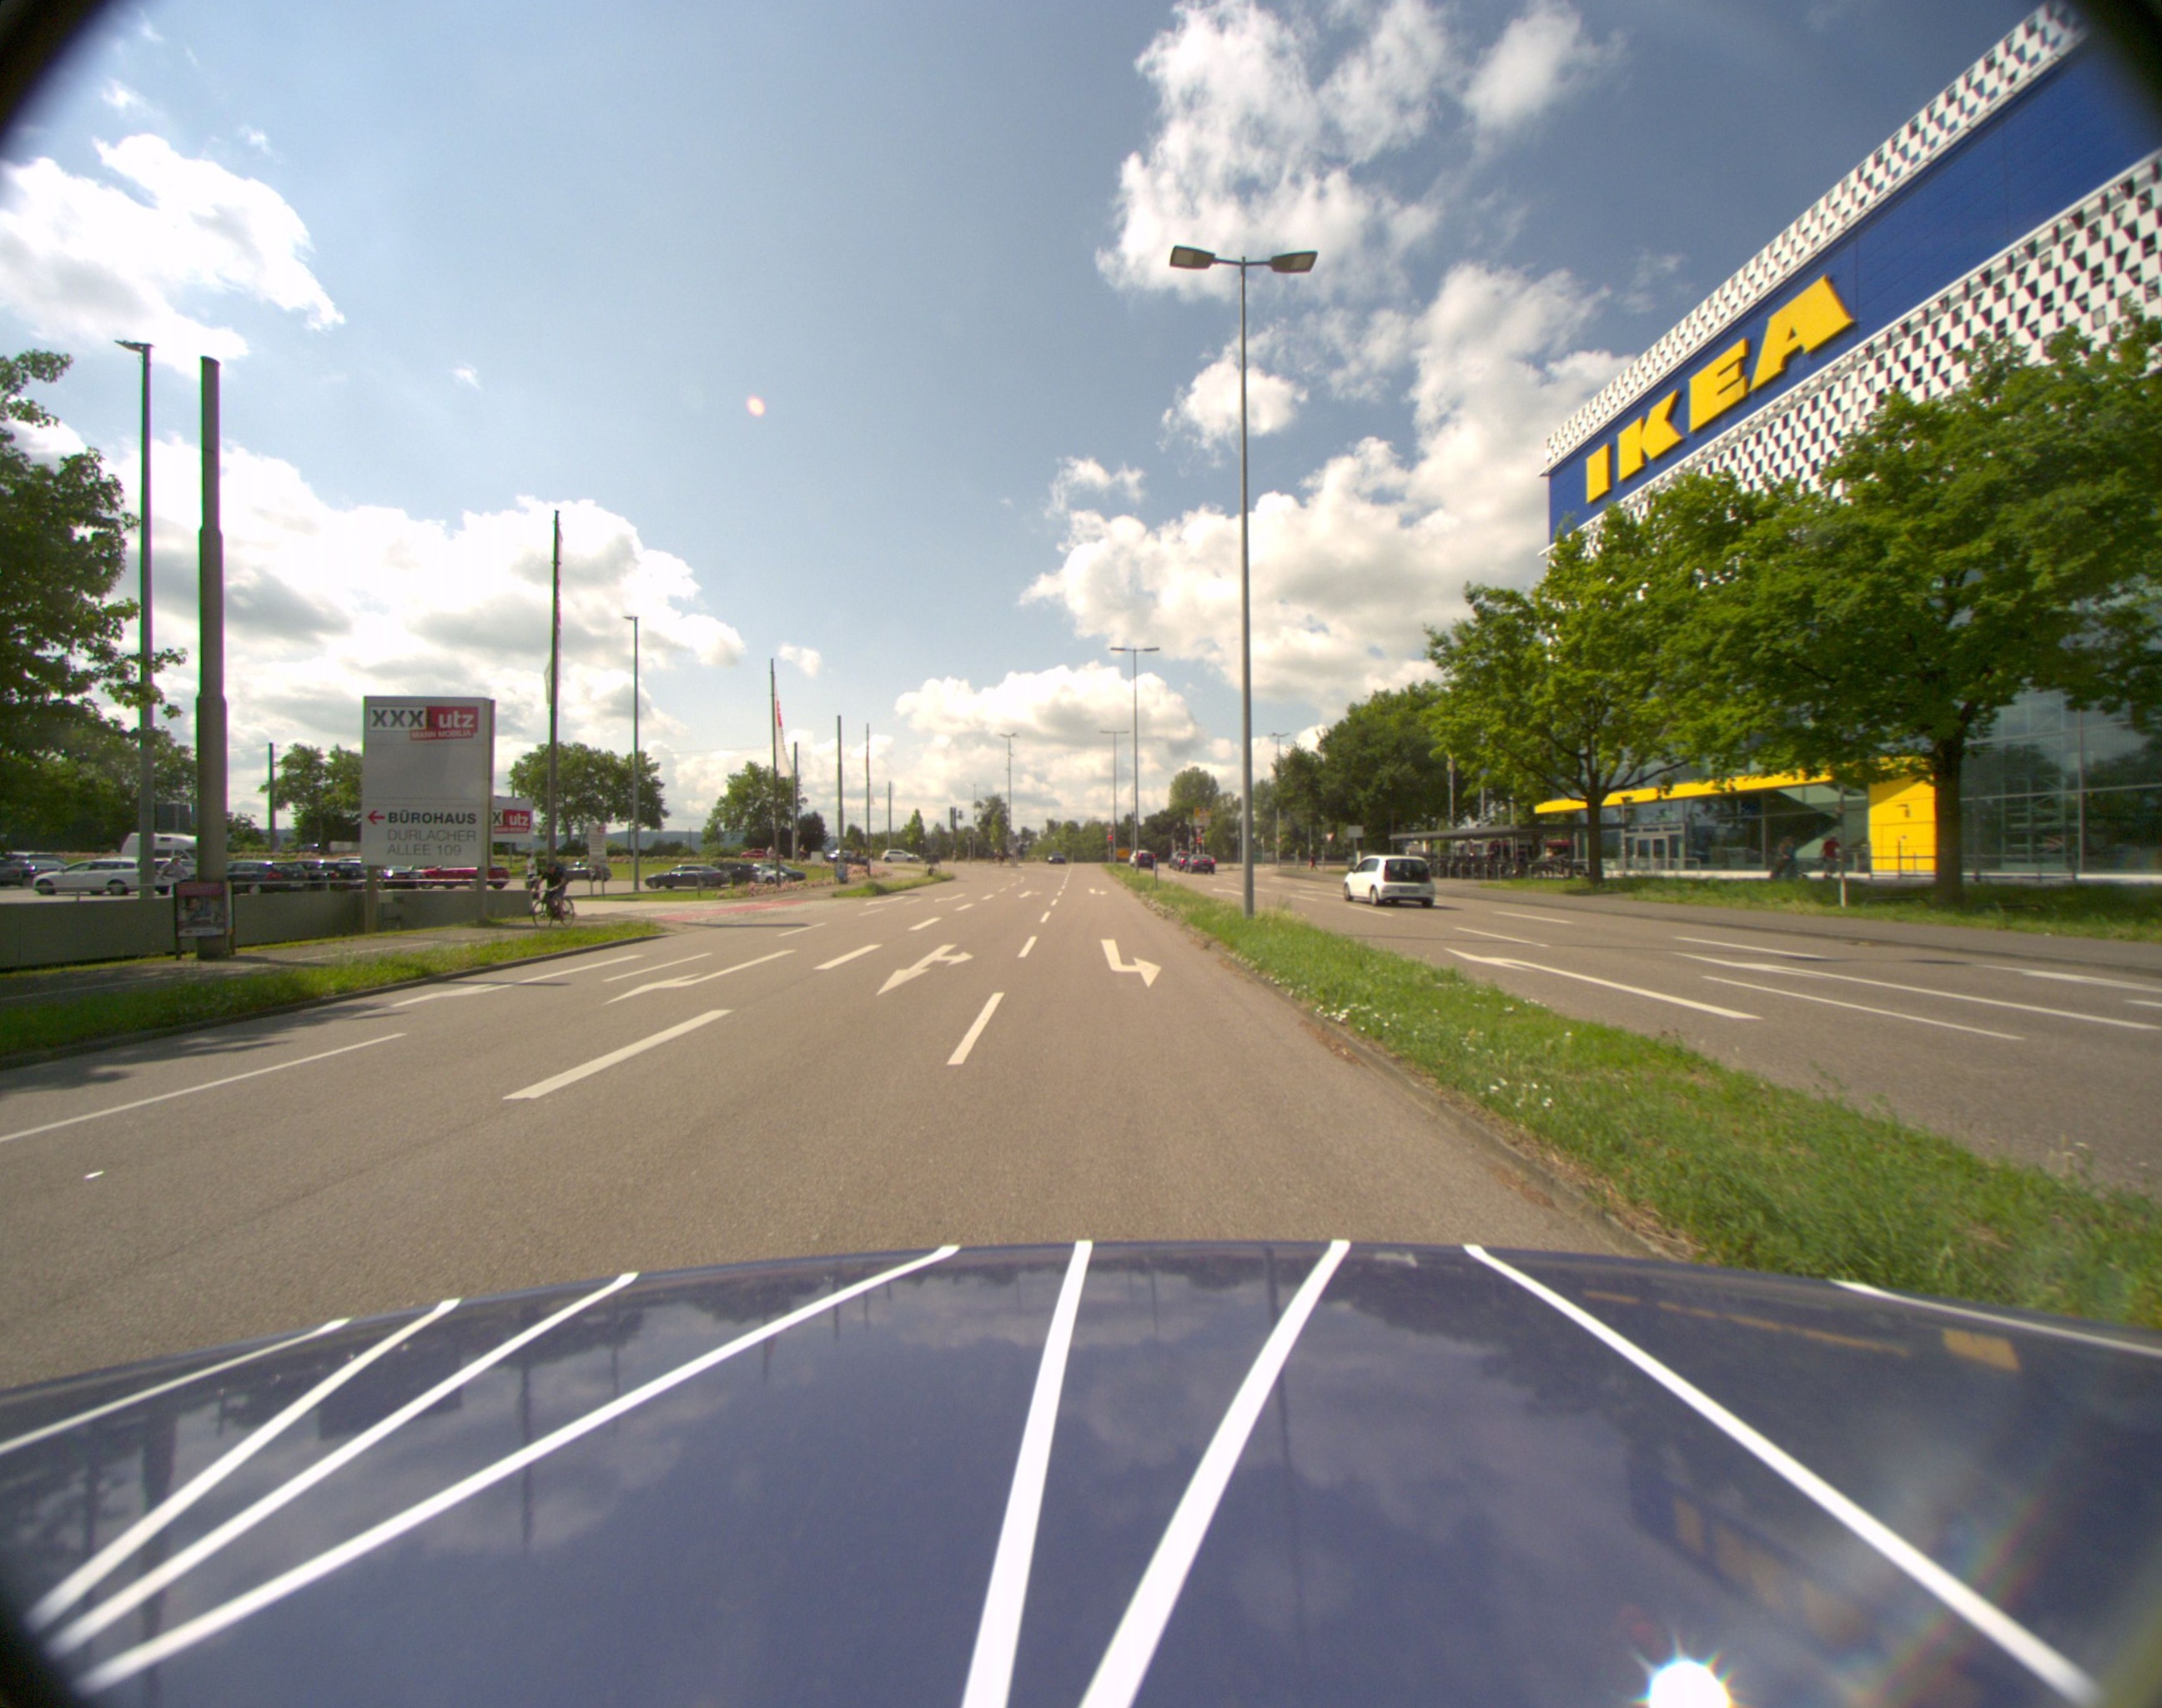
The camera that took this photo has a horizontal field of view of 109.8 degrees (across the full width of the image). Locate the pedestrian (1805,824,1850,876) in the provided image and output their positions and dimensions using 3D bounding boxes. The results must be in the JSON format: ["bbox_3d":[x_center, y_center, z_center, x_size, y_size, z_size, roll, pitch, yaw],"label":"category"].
[{"bbox_3d":[27.142,-0.143,27.631,0.755,1.812,0.887,-2,1,0],"label":"pedestrian"}]

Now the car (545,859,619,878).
[{"bbox_3d":[-38.173,1.109,58.212,4.369,1.400,2.050,1,-1,2],"label":"car"}]

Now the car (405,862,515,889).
[{"bbox_3d":[-33.045,1.122,40.493,4.369,1.354,1.847,1,-1,2],"label":"car"}]

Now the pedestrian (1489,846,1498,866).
[{"bbox_3d":[35.715,0.145,65.737,0.410,1.693,0.516,-1,0,-6],"label":"pedestrian"}]

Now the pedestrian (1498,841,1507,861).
[{"bbox_3d":[36.799,-0.275,66.337,0.528,1.693,0.410,-1,0,-9],"label":"pedestrian"}]

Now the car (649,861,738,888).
[{"bbox_3d":[-23.251,1.246,45.653,4.369,1.468,1.857,-1,0,2],"label":"car"}]

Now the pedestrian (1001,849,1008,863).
[{"bbox_3d":[-8.016,0.223,79.978,0.584,1.515,0.469,-1,1,9],"label":"pedestrian"}]

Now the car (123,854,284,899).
[{"bbox_3d":[-32.887,0.828,28.540,4.025,1.578,1.695,-1,-1,-1],"label":"car"}]

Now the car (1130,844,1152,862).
[{"bbox_3d":[5.784,-0.116,73.662,1.712,1.610,4.376,1,1,-1],"label":"car"}]

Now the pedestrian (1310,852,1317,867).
[{"bbox_3d":[22.778,0.524,74.419,0.439,1.482,0.619,-1,1,-16],"label":"pedestrian"}]

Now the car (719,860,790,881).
[{"bbox_3d":[-23.920,1.196,55.783,4.369,1.431,1.796,-1,1,1],"label":"car"}]

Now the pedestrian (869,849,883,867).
[{"bbox_3d":[-19.951,0.381,73.894,0.860,1.755,0.867,-1,1,27],"label":"pedestrian"}]

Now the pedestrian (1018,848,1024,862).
[{"bbox_3d":[-6.415,0.090,81.159,0.556,1.515,0.470,-1,0,9],"label":"pedestrian"}]

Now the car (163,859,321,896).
[{"bbox_3d":[-33.636,0.923,30.547,4.369,1.354,1.847,-1,0,2],"label":"car"}]

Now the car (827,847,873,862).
[{"bbox_3d":[-23.899,0.007,78.633,4.193,1.475,1.918,0,2,15],"label":"car"}]

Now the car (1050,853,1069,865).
[{"bbox_3d":[-2.453,0.589,87.877,1.796,1.311,4.163,-2,0,3],"label":"car"}]

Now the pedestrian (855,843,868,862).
[{"bbox_3d":[-20.713,-0.164,71.771,0.820,1.792,0.761,-1,1,28],"label":"pedestrian"}]

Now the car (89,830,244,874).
[{"bbox_3d":[-67.698,-0.142,56.362,7.897,3.136,3.122,0,1,3],"label":"car"}]

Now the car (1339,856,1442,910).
[{"bbox_3d":[9.084,0.798,22.598,1.647,1.420,3.670,0,1,2],"label":"car"}]

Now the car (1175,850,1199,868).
[{"bbox_3d":[8.838,0.376,63.623,1.415,1.384,4.095,1,1,0],"label":"car"}]

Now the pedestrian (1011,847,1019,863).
[{"bbox_3d":[-6.861,0.093,79.065,0.688,1.718,0.701,0,2,12],"label":"pedestrian"}]

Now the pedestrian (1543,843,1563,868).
[{"bbox_3d":[33.105,0.110,53.298,0.898,1.697,0.710,-1,1,0],"label":"pedestrian"}]

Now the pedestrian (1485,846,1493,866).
[{"bbox_3d":[35.638,0.183,66.352,0.404,1.693,0.450,-1,0,-6],"label":"pedestrian"}]

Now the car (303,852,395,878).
[{"bbox_3d":[-48.967,0.728,50.896,4.236,1.578,1.853,-1,1,-1],"label":"car"}]

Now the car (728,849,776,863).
[{"bbox_3d":[-34.830,0.200,80.468,4.247,1.353,1.748,0,1,-4],"label":"car"}]

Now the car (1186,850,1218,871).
[{"bbox_3d":[9.100,0.461,57.613,1.668,1.413,4.518,1,1,0],"label":"car"}]

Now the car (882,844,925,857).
[{"bbox_3d":[-20.488,-0.393,87.886,4.495,1.405,2.013,0,0,-3],"label":"car"}]

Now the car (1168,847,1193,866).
[{"bbox_3d":[9.335,0.176,71.851,1.775,1.606,3.998,1,2,0],"label":"car"}]

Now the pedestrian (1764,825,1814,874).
[{"bbox_3d":[25.387,-0.165,27.252,0.952,1.693,0.887,-2,1,0],"label":"pedestrian"}]

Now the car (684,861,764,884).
[{"bbox_3d":[-23.755,1.227,50.659,4.369,1.408,1.857,-1,0,1],"label":"car"}]

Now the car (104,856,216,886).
[{"bbox_3d":[-49.313,0.901,40.736,3.997,1.443,1.669,-1,0,1],"label":"car"}]

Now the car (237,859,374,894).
[{"bbox_3d":[-33.639,0.969,33.007,4.369,1.433,1.627,1,-1,2],"label":"car"}]

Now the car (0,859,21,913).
[{"bbox_3d":[-32.870,0.889,21.149,4.065,1.522,1.741,1,1,-3],"label":"car"}]

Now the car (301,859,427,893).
[{"bbox_3d":[-33.387,0.997,35.467,4.369,1.499,1.682,1,1,2],"label":"car"}]

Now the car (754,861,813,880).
[{"bbox_3d":[-23.625,1.268,60.442,3.997,1.410,1.715,-1,1,-1],"label":"car"}]

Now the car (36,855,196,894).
[{"bbox_3d":[-38.868,0.818,30.675,4.159,1.499,1.826,0,1,1],"label":"car"}]

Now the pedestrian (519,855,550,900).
[{"bbox_3d":[-22.237,0.959,30.919,0.782,1.772,0.874,-1,0,45],"label":"pedestrian"}]

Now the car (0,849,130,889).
[{"bbox_3d":[-47.466,0.686,35.343,3.996,1.729,2.000,-1,1,2],"label":"car"}]
